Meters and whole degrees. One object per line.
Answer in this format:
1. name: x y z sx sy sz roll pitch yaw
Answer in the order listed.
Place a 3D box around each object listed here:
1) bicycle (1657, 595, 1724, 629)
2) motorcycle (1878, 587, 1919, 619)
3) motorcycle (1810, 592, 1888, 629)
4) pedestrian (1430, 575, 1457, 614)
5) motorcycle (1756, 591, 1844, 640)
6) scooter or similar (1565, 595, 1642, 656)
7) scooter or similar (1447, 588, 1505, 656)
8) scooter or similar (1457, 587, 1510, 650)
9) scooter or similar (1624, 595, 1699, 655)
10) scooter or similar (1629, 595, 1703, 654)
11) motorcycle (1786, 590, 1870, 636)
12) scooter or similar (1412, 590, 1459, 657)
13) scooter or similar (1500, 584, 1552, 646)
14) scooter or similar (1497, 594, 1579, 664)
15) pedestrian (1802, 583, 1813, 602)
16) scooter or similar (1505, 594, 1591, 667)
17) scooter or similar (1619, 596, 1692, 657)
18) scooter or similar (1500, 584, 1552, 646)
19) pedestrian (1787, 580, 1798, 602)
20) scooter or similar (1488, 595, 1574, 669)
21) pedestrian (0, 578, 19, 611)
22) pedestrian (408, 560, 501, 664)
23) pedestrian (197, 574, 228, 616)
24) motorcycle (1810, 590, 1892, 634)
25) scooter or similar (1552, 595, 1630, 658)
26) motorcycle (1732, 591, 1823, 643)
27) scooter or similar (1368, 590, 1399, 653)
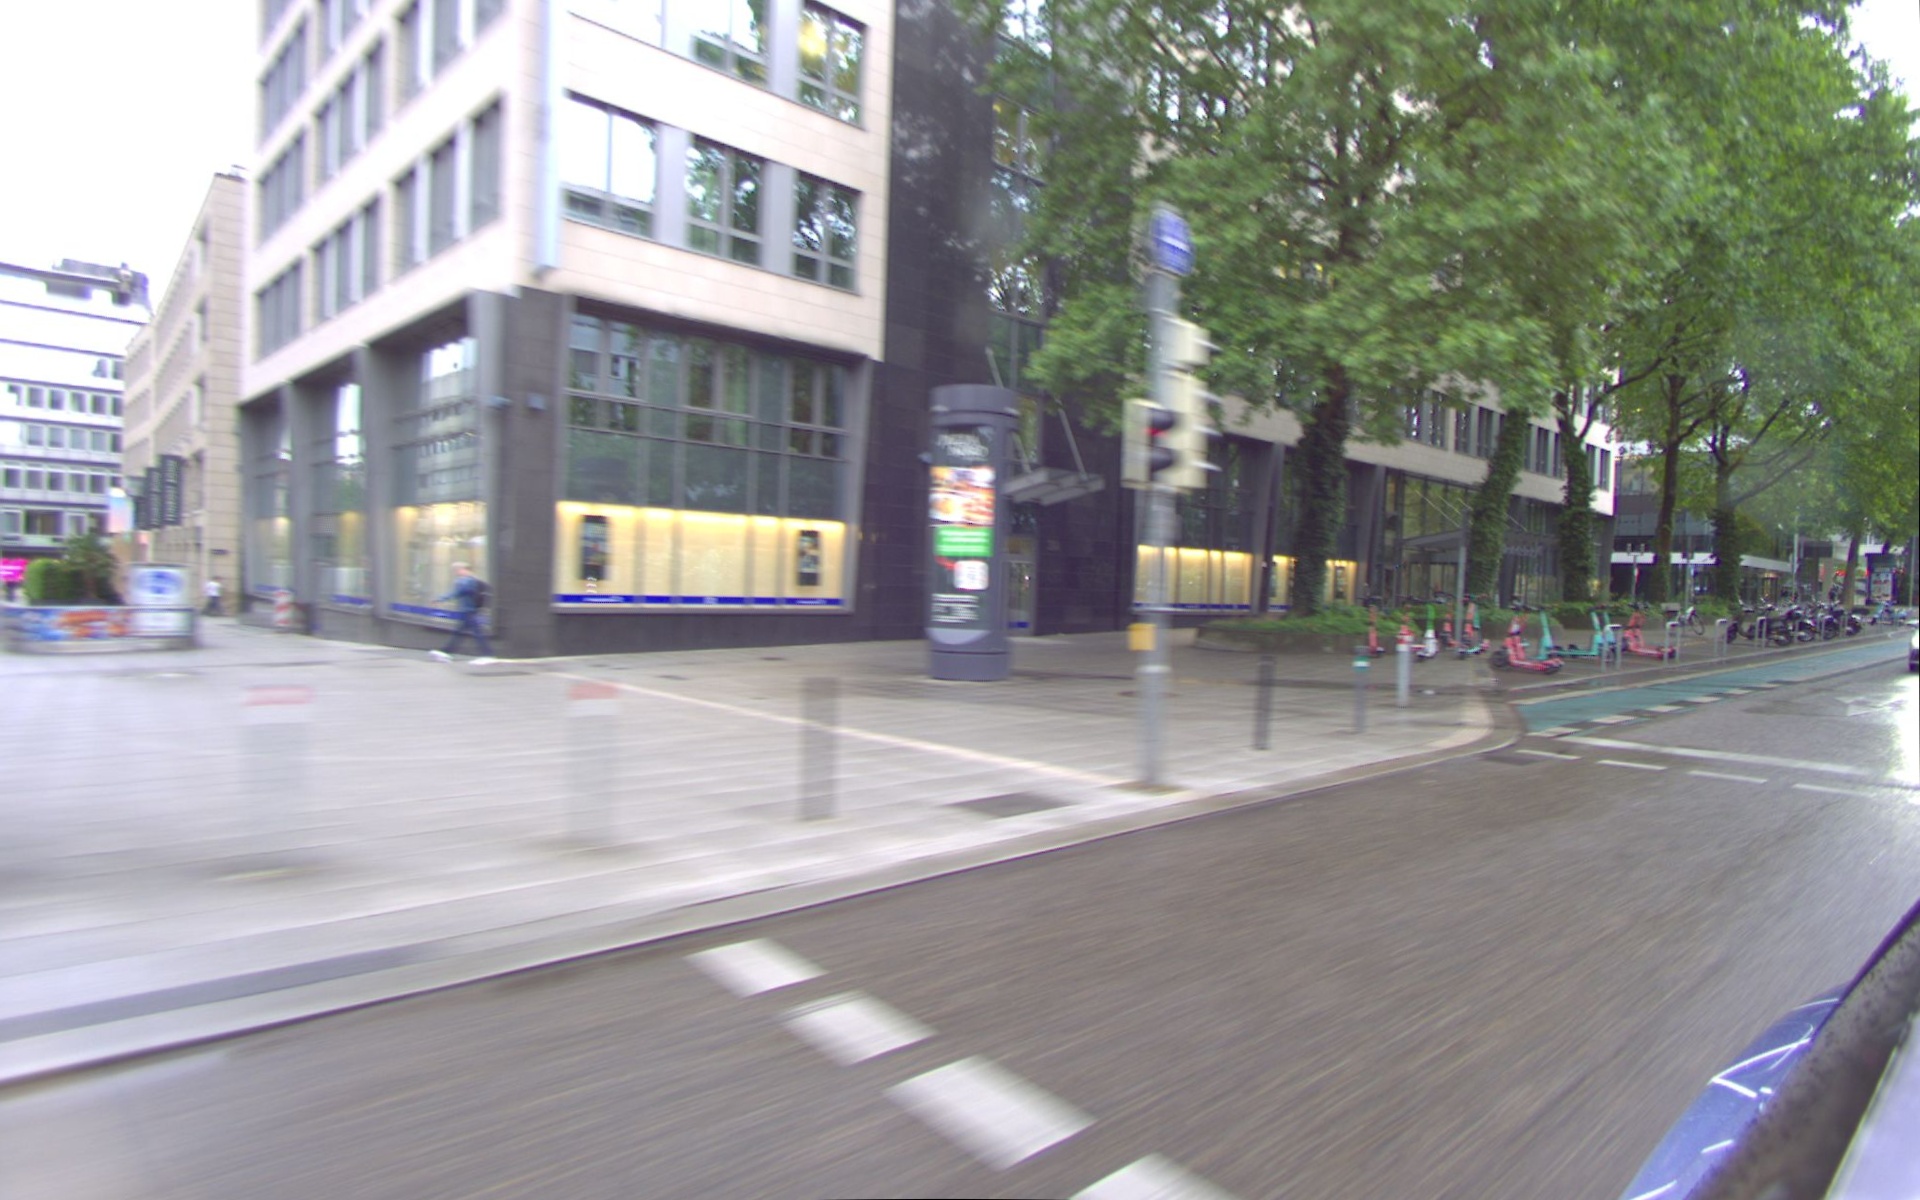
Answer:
1. bicycle: 22.439 0.367 31.080 1.727 1.040 0.640 0 1 -11
2. motorcycle: 43.811 0.157 46.818 1.909 1.383 0.685 2 4 1
3. motorcycle: 33.705 0.384 38.392 2.031 1.227 0.682 3 3 15
4. pedestrian: 21.483 -0.254 44.984 0.813 1.714 0.729 2 1 3
5. motorcycle: 26.263 0.475 31.686 1.945 1.391 0.721 4 1 30
6. scooter or similar: 14.136 0.547 22.265 0.480 1.251 1.293 2 1 -37
7. scooter or similar: 10.039 0.426 19.674 1.270 1.275 0.489 2 1 -40
8. scooter or similar: 10.990 0.385 21.230 1.270 1.275 0.489 2 1 -40
9. scooter or similar: 16.468 0.578 23.784 0.527 1.294 1.294 2 1 -35
10. scooter or similar: 16.791 0.569 24.079 0.527 1.294 1.294 2 1 -35
11. motorcycle: 28.898 0.411 33.739 1.945 1.391 0.721 4 1 30
12. scooter or similar: 9.142 0.437 19.446 0.487 1.212 1.275 1 2 40
13. scooter or similar: 12.135 0.320 21.684 1.270 1.275 0.489 2 1 -40
14. scooter or similar: 11.325 0.550 19.870 0.479 1.275 1.296 2 1 -28
15. pedestrian: 75.713 -0.655 90.423 0.707 1.645 0.527 -2 4 -40
16. scooter or similar: 11.161 0.565 19.240 0.479 1.275 1.296 2 1 -28
17. scooter or similar: 16.001 0.592 23.292 1.288 1.294 0.529 4 1 40
18. scooter or similar: 12.135 0.320 21.684 1.270 1.275 0.489 2 1 -40
19. pedestrian: 74.557 -0.830 90.617 0.691 1.881 0.524 -2 4 -40
20. scooter or similar: 10.654 0.576 18.911 0.479 1.275 1.296 2 1 -28
21. pedestrian: -47.304 -0.285 50.322 0.676 1.652 0.684 0 0 -38
22. pedestrian: -9.321 0.205 18.711 1.252 1.873 0.921 0 1 -3
23. pedestrian: -33.627 -0.229 45.520 1.067 1.853 0.727 0 0 -41
24. motorcycle: 32.163 0.436 36.560 2.043 1.446 0.721 4 1 30
25. scooter or similar: 13.579 0.561 21.790 0.480 1.251 1.293 2 1 -37
26. motorcycle: 23.817 0.474 29.525 1.949 1.391 0.720 4 1 35
27. scooter or similar: 8.573 0.417 20.501 0.483 1.212 1.286 1 2 19
